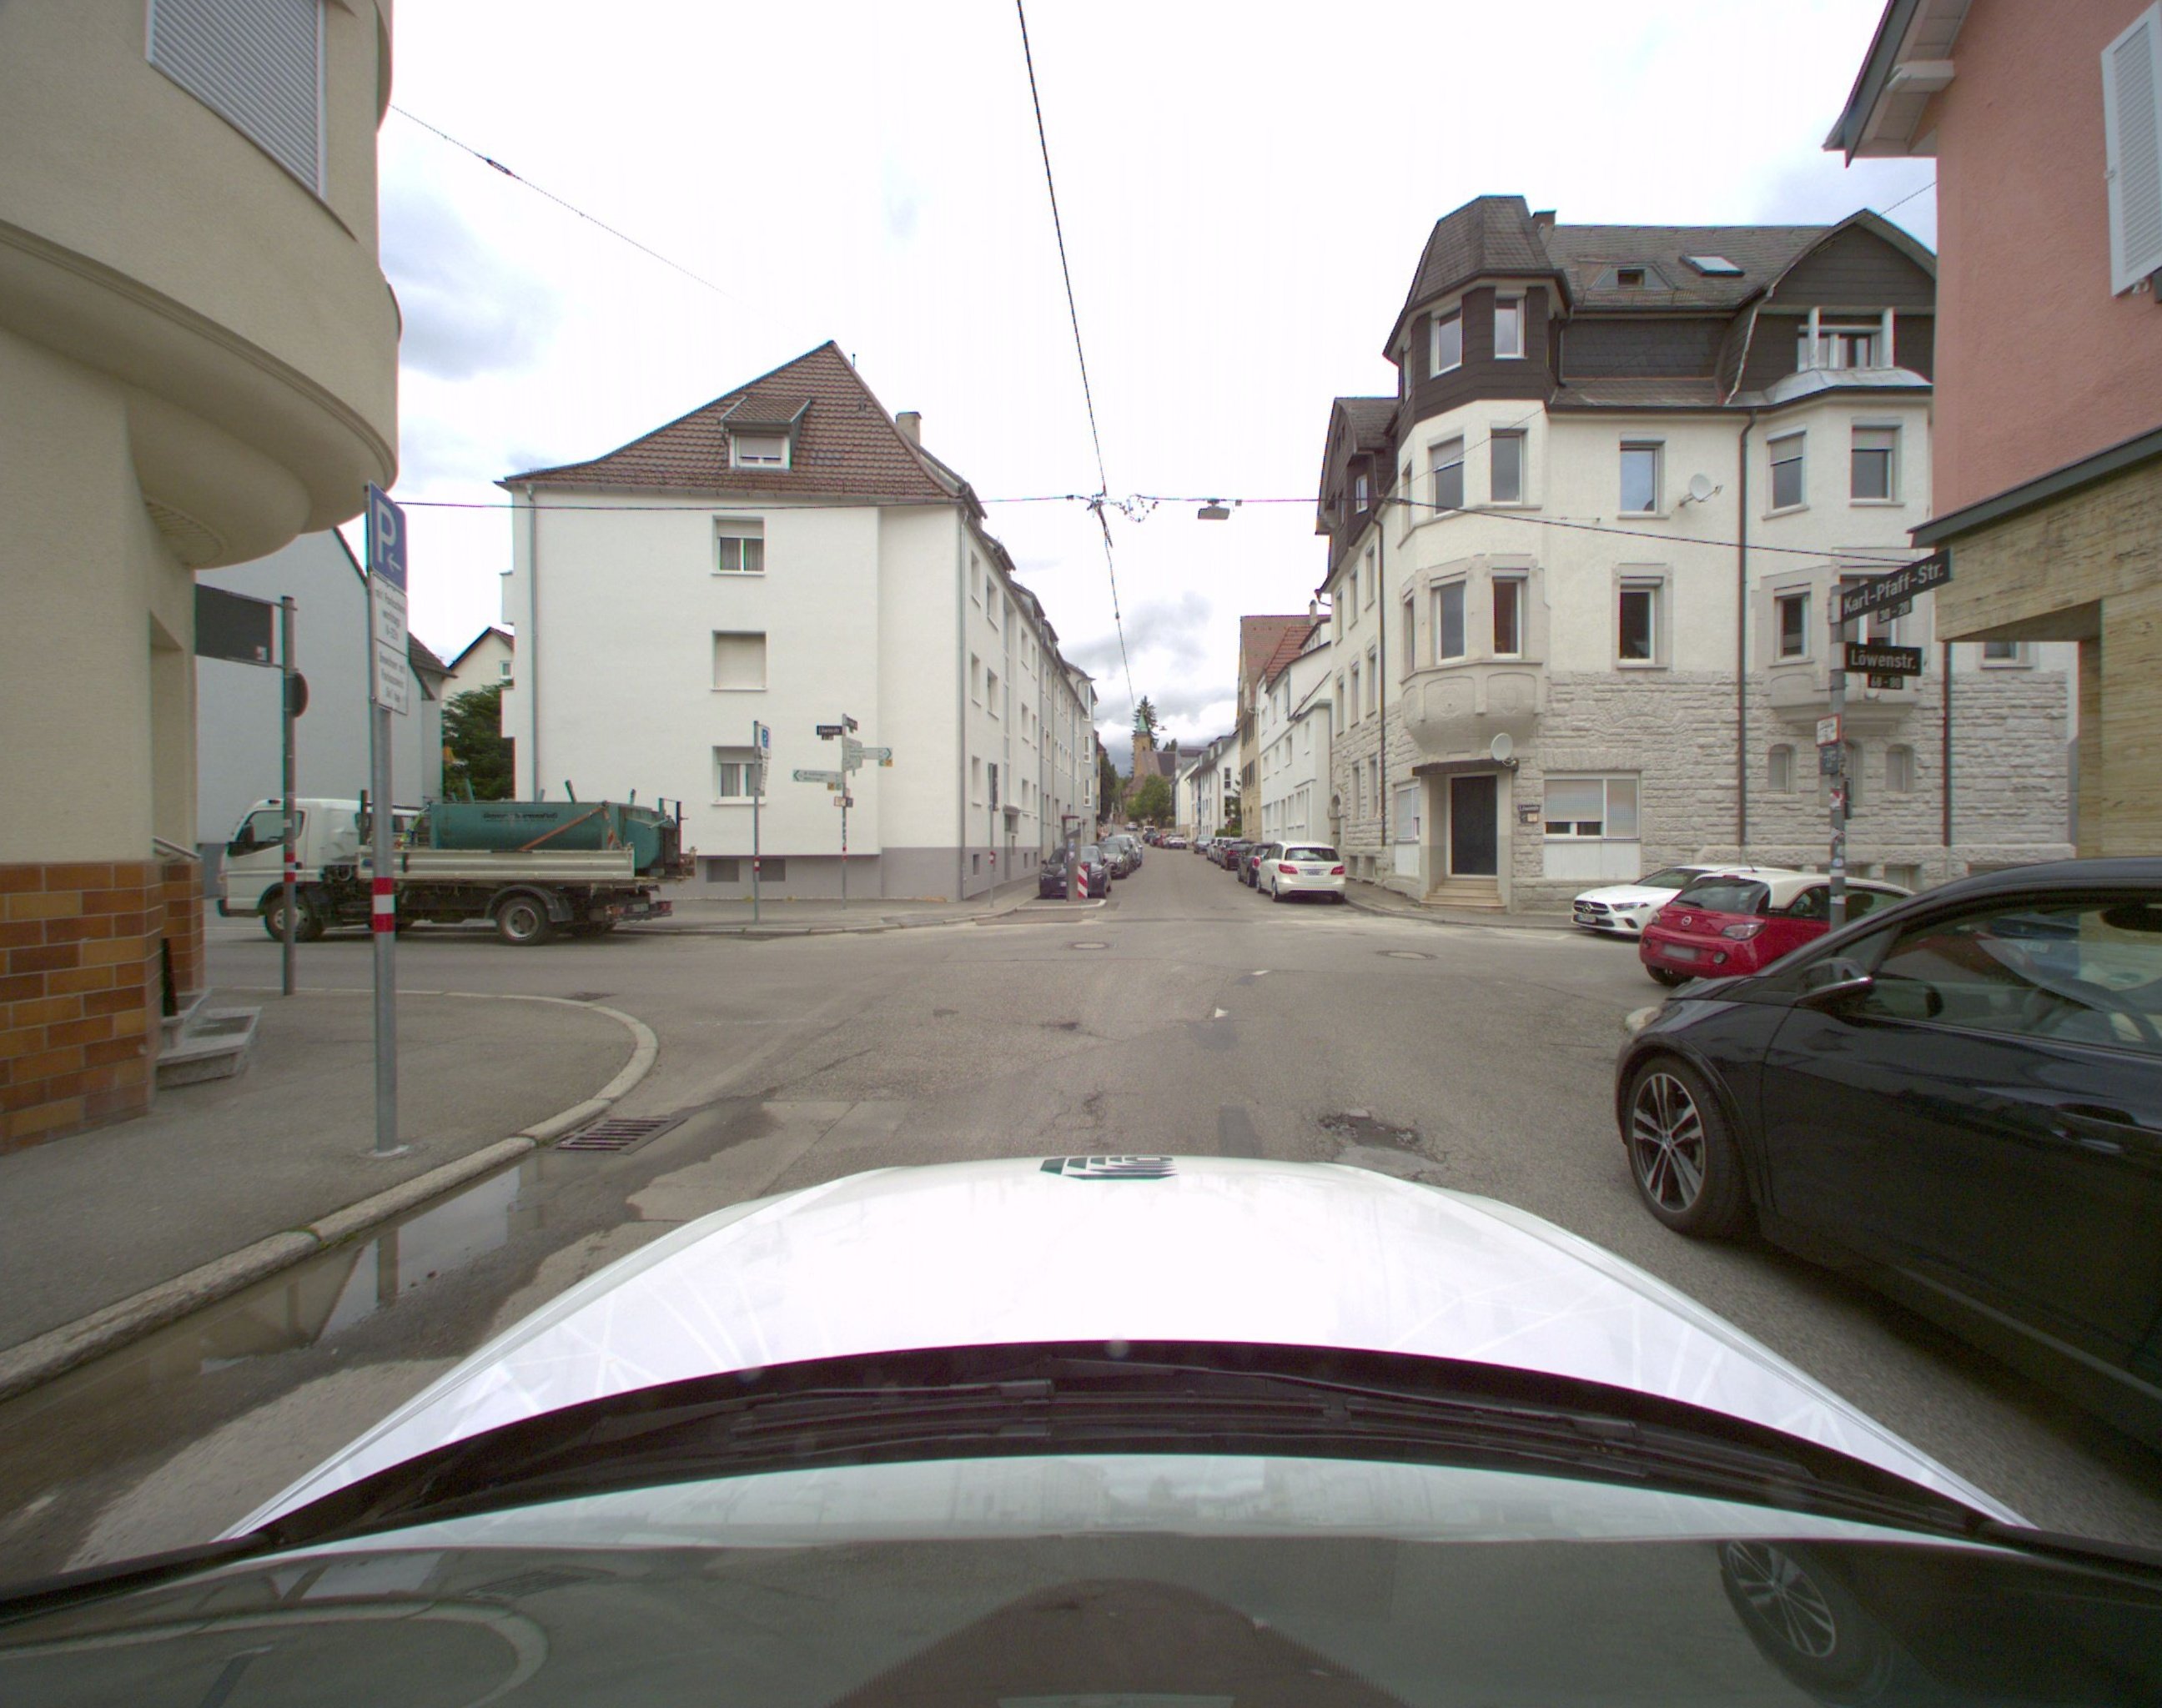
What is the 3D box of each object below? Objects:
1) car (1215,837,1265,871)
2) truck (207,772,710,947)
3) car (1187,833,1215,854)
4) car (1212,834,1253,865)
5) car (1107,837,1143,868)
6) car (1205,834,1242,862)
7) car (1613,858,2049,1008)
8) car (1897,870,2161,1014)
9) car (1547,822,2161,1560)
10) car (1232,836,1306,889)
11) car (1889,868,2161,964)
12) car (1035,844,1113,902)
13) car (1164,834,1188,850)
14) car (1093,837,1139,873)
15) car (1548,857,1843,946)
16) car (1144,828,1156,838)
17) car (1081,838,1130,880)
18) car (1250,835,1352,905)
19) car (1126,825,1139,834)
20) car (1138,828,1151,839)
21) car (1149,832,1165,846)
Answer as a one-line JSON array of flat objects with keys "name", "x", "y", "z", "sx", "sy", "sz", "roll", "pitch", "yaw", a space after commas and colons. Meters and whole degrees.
[{"name": "car", "x": 7.244, "y": -0.043, "z": 37.393, "sx": 1.661, "sy": 1.384, "sz": 4.031, "roll": 1, "pitch": 2, "yaw": 3}, {"name": "truck", "x": -9.716, "y": 0.076, "z": 13.244, "sx": 6.251, "sy": 2.552, "sz": 2.316, "roll": 0, "pitch": -1, "yaw": -2}, {"name": "car", "x": 8.992, "y": -0.816, "z": 61.229, "sx": 1.661, "sy": 1.479, "sz": 3.629, "roll": 1, "pitch": 2, "yaw": 3}, {"name": "car", "x": 8.015, "y": -0.262, "z": 43.432, "sx": 1.661, "sy": 1.479, "sz": 3.629, "roll": 1, "pitch": 2, "yaw": 3}, {"name": "car", "x": 2.271, "y": -0.127, "z": 41.722, "sx": 1.722, "sy": 1.448, "sz": 3.724, "roll": -1, "pitch": 1, "yaw": 4}, {"name": "car", "x": 8.373, "y": -0.373, "z": 48.067, "sx": 1.661, "sy": 1.479, "sz": 3.629, "roll": 1, "pitch": 2, "yaw": 3}, {"name": "car", "x": 8.499, "y": 0.852, "z": 9.443, "sx": 3.606, "sy": 1.479, "sz": 1.671, "roll": 1, "pitch": 1, "yaw": -3}, {"name": "car", "x": 12.749, "y": 1.007, "z": 9.666, "sx": 4.265, "sy": 1.403, "sz": 1.858, "roll": 1, "pitch": 2, "yaw": -1}, {"name": "car", "x": 3.206, "y": 0.725, "z": 2.134, "sx": 1.810, "sy": 1.543, "sz": 4.030, "roll": 1, "pitch": 0, "yaw": 3}, {"name": "car", "x": 6.127, "y": 0.216, "z": 26.950, "sx": 1.661, "sy": 1.532, "sz": 4.031, "roll": 1, "pitch": 2, "yaw": 3}, {"name": "car", "x": 17.738, "y": 1.093, "z": 14.879, "sx": 4.216, "sy": 1.515, "sz": 1.849, "roll": 1, "pitch": 1, "yaw": -3}, {"name": "car", "x": -0.102, "y": 0.456, "z": 22.804, "sx": 1.812, "sy": 1.391, "sz": 4.303, "roll": -1, "pitch": 2, "yaw": 4}, {"name": "car", "x": 9.289, "y": -1.239, "z": 79.848, "sx": 1.781, "sy": 1.479, "sz": 3.621, "roll": 0, "pitch": 2, "yaw": -4}, {"name": "car", "x": 1.624, "y": -0.001, "z": 36.742, "sx": 1.720, "sy": 1.469, "sz": 3.728, "roll": -1, "pitch": 2, "yaw": 8}, {"name": "car", "x": 11.151, "y": 0.833, "z": 14.964, "sx": 4.216, "sy": 1.414, "sz": 1.703, "roll": 1, "pitch": 1, "yaw": -3}, {"name": "car", "x": 10.134, "y": -3.138, "z": 119.623, "sx": 1.661, "sy": 1.479, "sz": 3.629, "roll": 0, "pitch": 2, "yaw": 3}, {"name": "car", "x": 1.010, "y": 0.154, "z": 31.754, "sx": 1.722, "sy": 1.489, "sz": 3.724, "roll": -1, "pitch": 1, "yaw": 4}, {"name": "car", "x": 5.782, "y": 0.343, "z": 21.900, "sx": 1.813, "sy": 1.599, "sz": 4.031, "roll": 1, "pitch": 2, "yaw": 3}, {"name": "car", "x": 10.085, "y": -4.801, "z": 158.661, "sx": 2.176, "sy": 1.693, "sz": 3.624, "roll": 0, "pitch": 2, "yaw": -2}, {"name": "car", "x": 8.382, "y": -2.735, "z": 107.924, "sx": 1.661, "sy": 1.479, "sz": 3.629, "roll": 0, "pitch": 2, "yaw": 3}, {"name": "car", "x": 8.494, "y": -1.658, "z": 91.096, "sx": 1.661, "sy": 1.479, "sz": 3.629, "roll": 0, "pitch": 2, "yaw": 3}]
